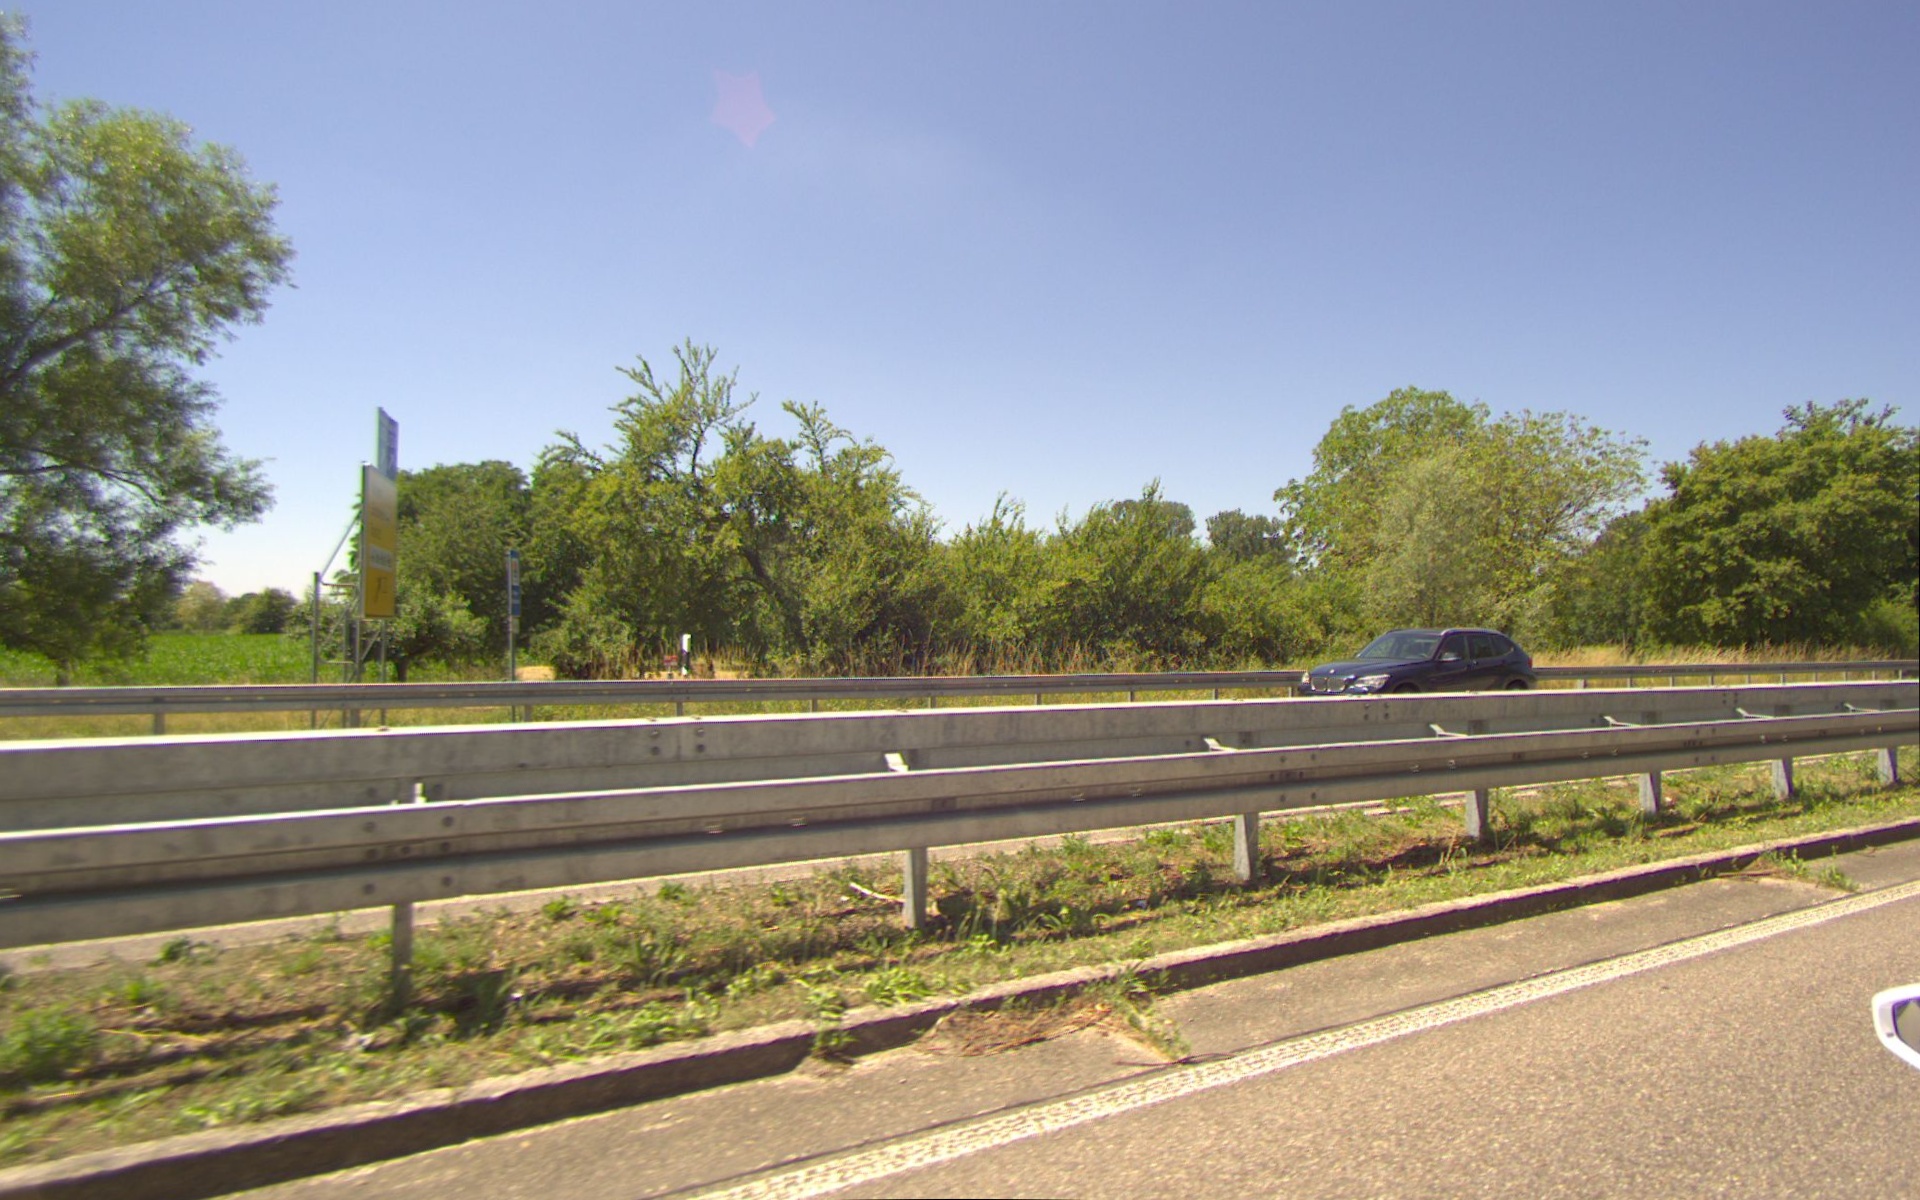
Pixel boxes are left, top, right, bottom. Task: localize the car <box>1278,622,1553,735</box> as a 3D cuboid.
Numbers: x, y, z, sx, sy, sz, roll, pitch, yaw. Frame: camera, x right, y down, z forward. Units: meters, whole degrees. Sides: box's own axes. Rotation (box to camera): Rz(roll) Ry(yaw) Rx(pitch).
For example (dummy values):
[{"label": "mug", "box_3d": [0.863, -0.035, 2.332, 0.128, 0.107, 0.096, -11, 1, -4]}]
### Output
[{"label": "car", "box_3d": [7.484, 1.225, 16.426, 4.449, 1.641, 1.773, 1, -3, -28]}]
